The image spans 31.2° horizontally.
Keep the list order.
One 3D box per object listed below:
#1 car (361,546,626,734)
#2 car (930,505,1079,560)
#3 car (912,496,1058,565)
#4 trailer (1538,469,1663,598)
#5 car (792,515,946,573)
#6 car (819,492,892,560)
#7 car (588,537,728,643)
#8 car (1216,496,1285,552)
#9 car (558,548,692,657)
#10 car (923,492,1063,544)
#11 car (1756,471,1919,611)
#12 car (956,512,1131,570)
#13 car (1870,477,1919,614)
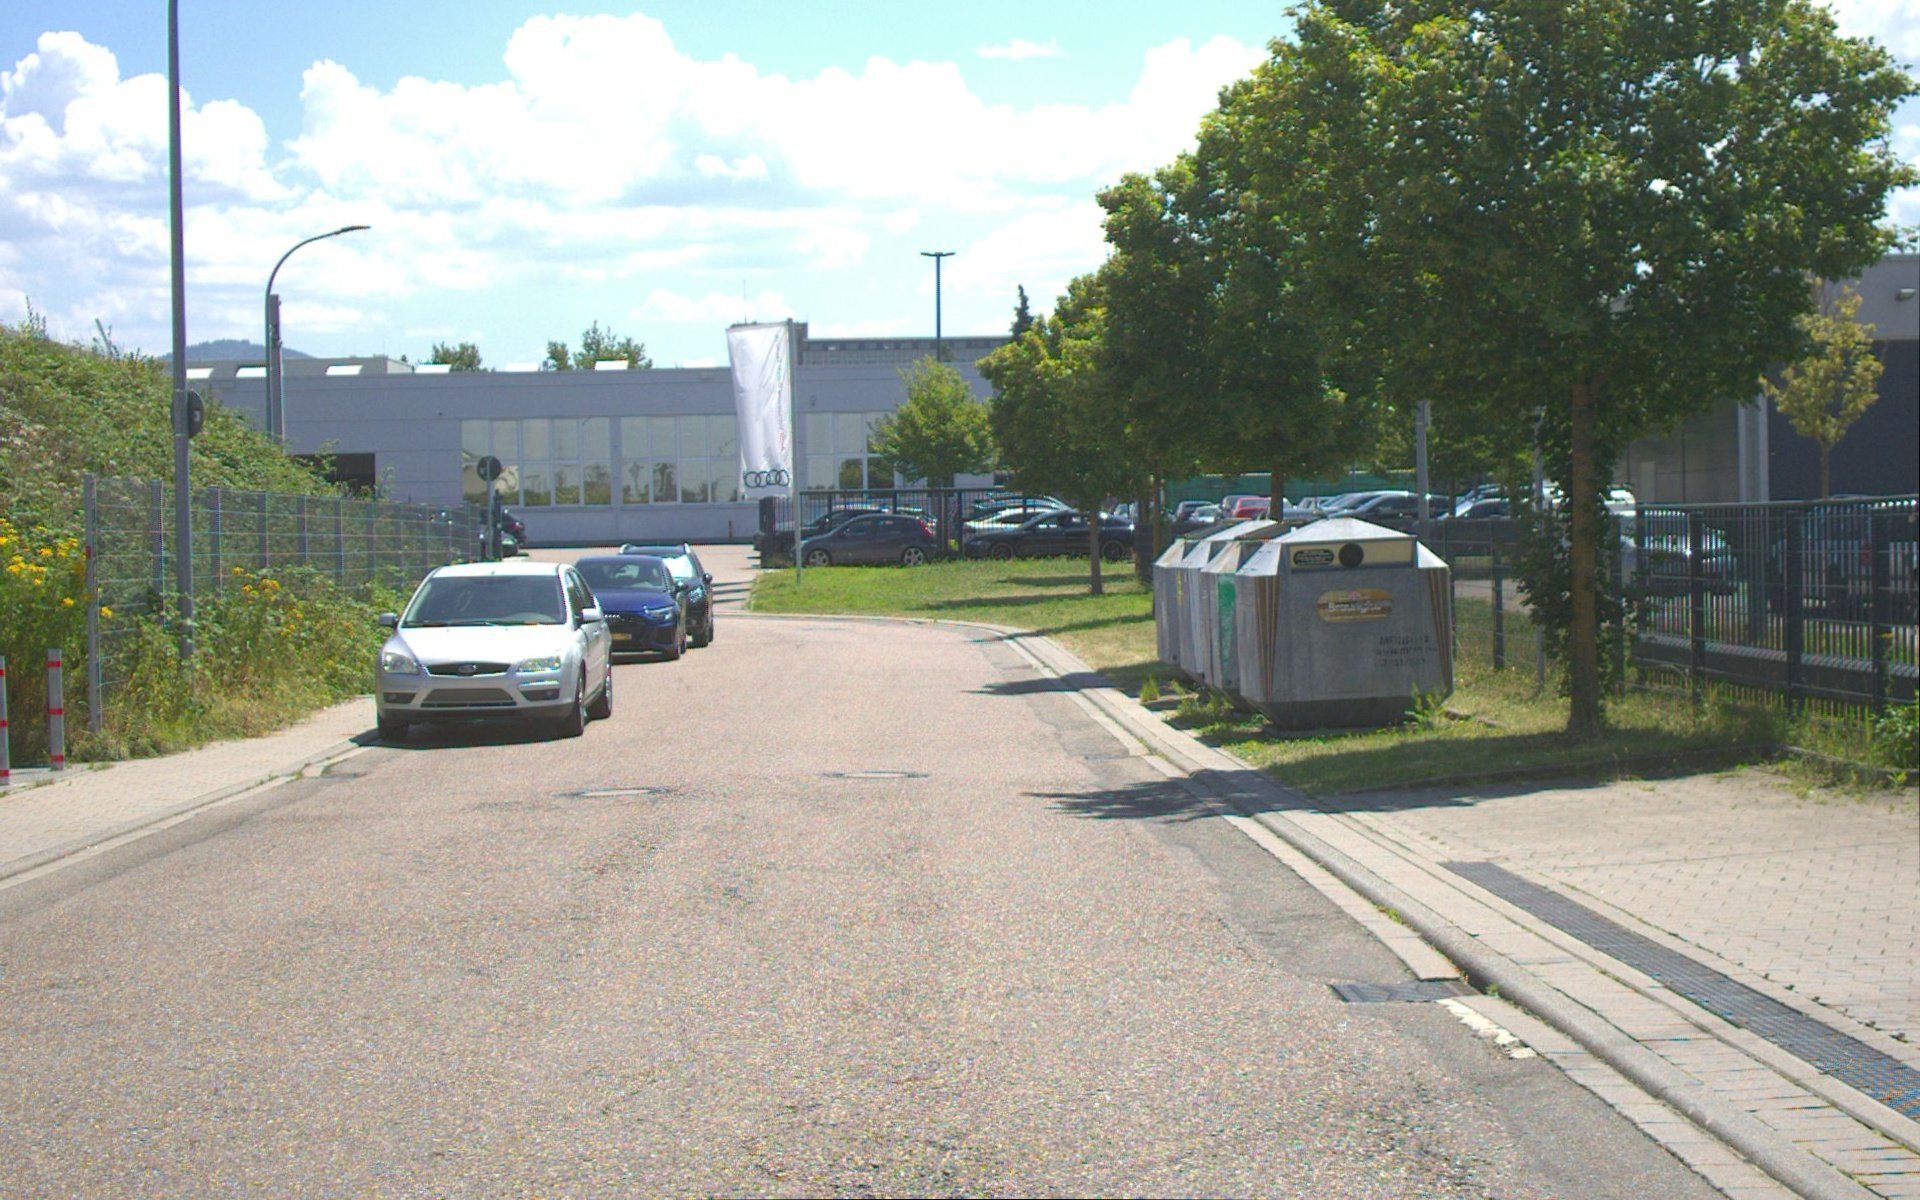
[{"bbox_3d":[-4.125,0.301,31.030,1.833,1.541,4.367,-1,1,-1],"label":"car"},{"bbox_3d":[1.223,-1.856,95.373,3.986,1.393,2.000,-1,-1,-3],"label":"car"},{"bbox_3d":[0.693,-1.954,97.028,3.986,1.821,2.000,-1,-1,-3],"label":"car"},{"bbox_3d":[10.740,-1.150,57.794,1.493,2.000,3.264,-1,3,1],"label":"trailer"},{"bbox_3d":[-2.402,-1.472,90.415,3.986,1.393,2.000,-1,-1,-3],"label":"car"},{"bbox_3d":[-3.076,-2.145,100.401,1.993,1.821,4.000,-1,-1,-3],"label":"car"},{"bbox_3d":[-4.643,-0.182,53.309,1.833,1.541,4.265,-1,1,-1],"label":"car"},{"bbox_3d":[10.346,-2.691,122.500,1.993,1.821,4.000,-1,-1,-1],"label":"car"},{"bbox_3d":[-4.657,0.003,48.218,1.656,1.412,4.146,-1,1,-3],"label":"car"},{"bbox_3d":[0.950,-2.397,100.942,3.986,1.393,2.000,-1,-1,-3],"label":"car"},{"bbox_3d":[11.127,-0.756,41.459,1.789,1.525,4.423,-1,3,-3],"label":"car"},{"bbox_3d":[2.173,-1.547,90.379,4.437,1.393,2.000,-1,-1,-3],"label":"car"},{"bbox_3d":[11.061,-0.610,35.880,1.789,1.428,4.143,-1,-1,-3],"label":"car"}]
